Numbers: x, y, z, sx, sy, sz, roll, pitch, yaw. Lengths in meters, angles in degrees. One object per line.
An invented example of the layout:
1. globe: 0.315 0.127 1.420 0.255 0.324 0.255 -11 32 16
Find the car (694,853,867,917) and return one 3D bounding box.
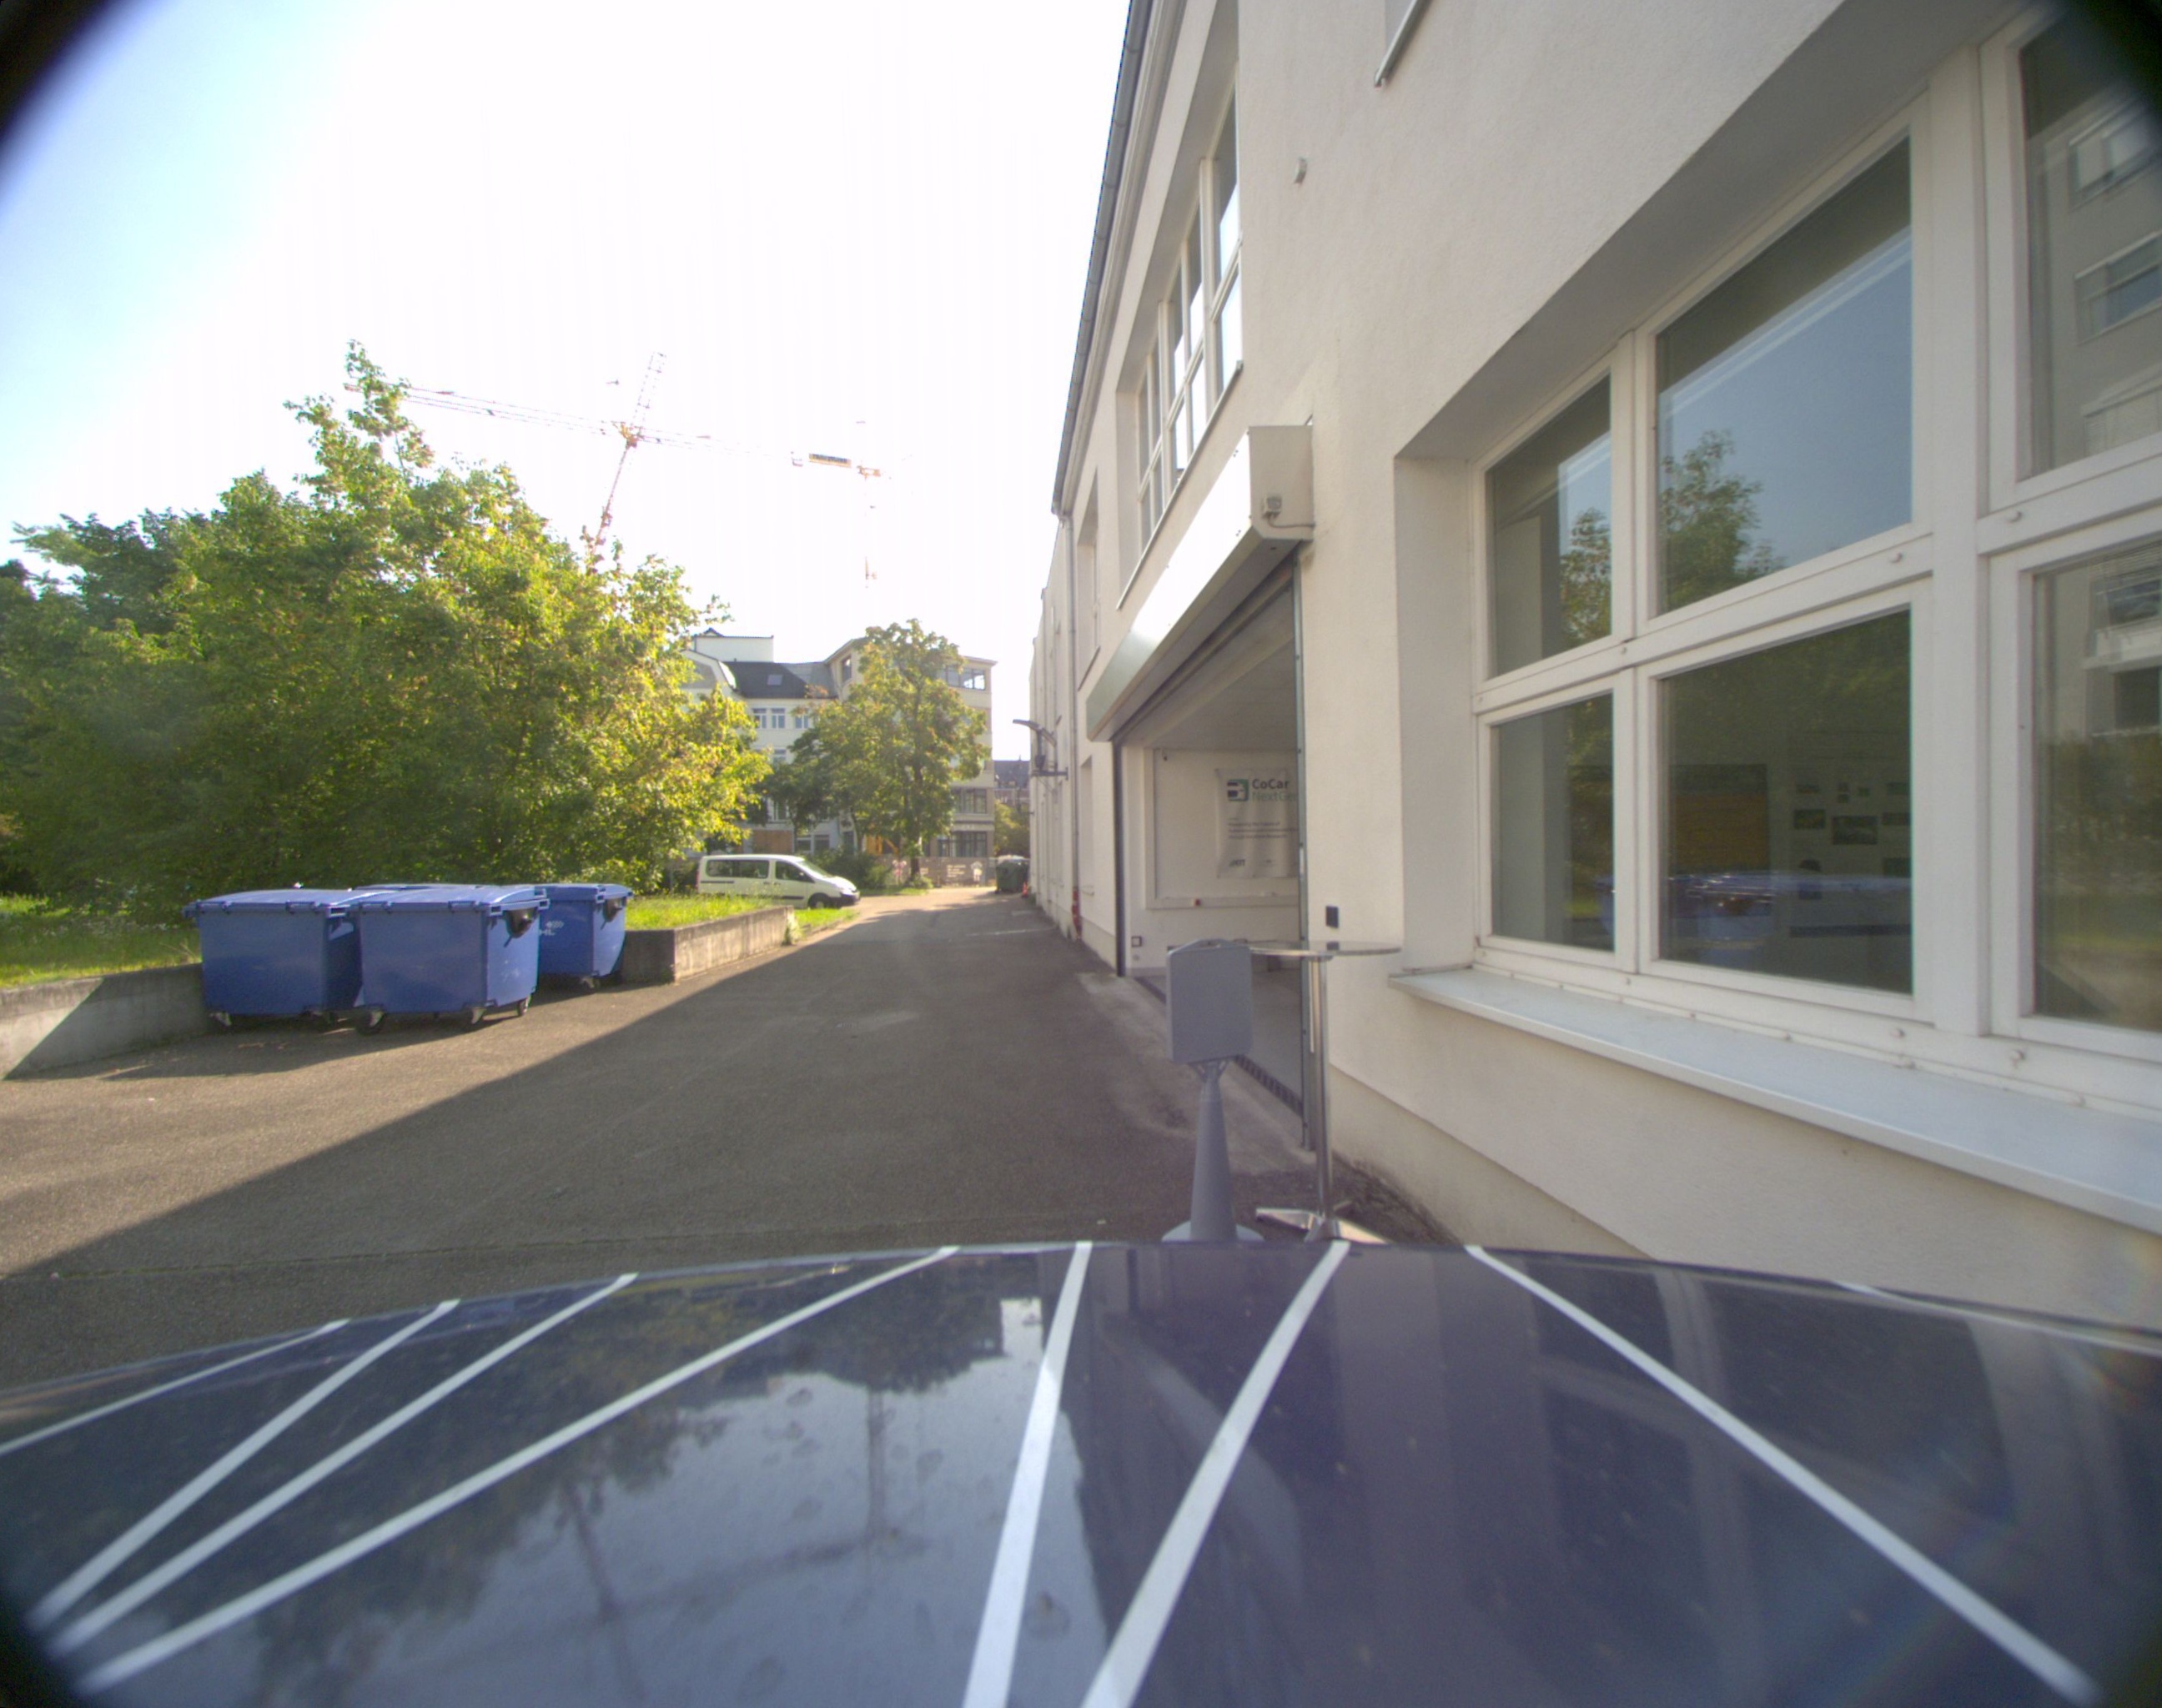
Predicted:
1. car: -9.497 0.946 24.336 4.792 1.920 1.908 0 0 -4

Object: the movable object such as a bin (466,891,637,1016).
1. movable object such as a bin: -6.313 1.141 9.173 1.200 1.320 1.274 -1 0 -5

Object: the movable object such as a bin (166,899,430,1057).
1. movable object such as a bin: -7.596 1.148 7.488 1.257 1.320 1.274 -1 0 -5

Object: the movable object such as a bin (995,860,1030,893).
1. movable object such as a bin: -3.127 1.010 34.519 1.525 1.457 1.274 -1 0 -5

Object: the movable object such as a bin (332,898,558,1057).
1. movable object such as a bin: -6.239 1.159 7.581 1.214 1.343 1.274 -1 0 -8

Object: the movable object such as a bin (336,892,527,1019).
1. movable object such as a bin: -7.681 1.154 9.091 1.200 1.320 1.274 -1 0 -5
